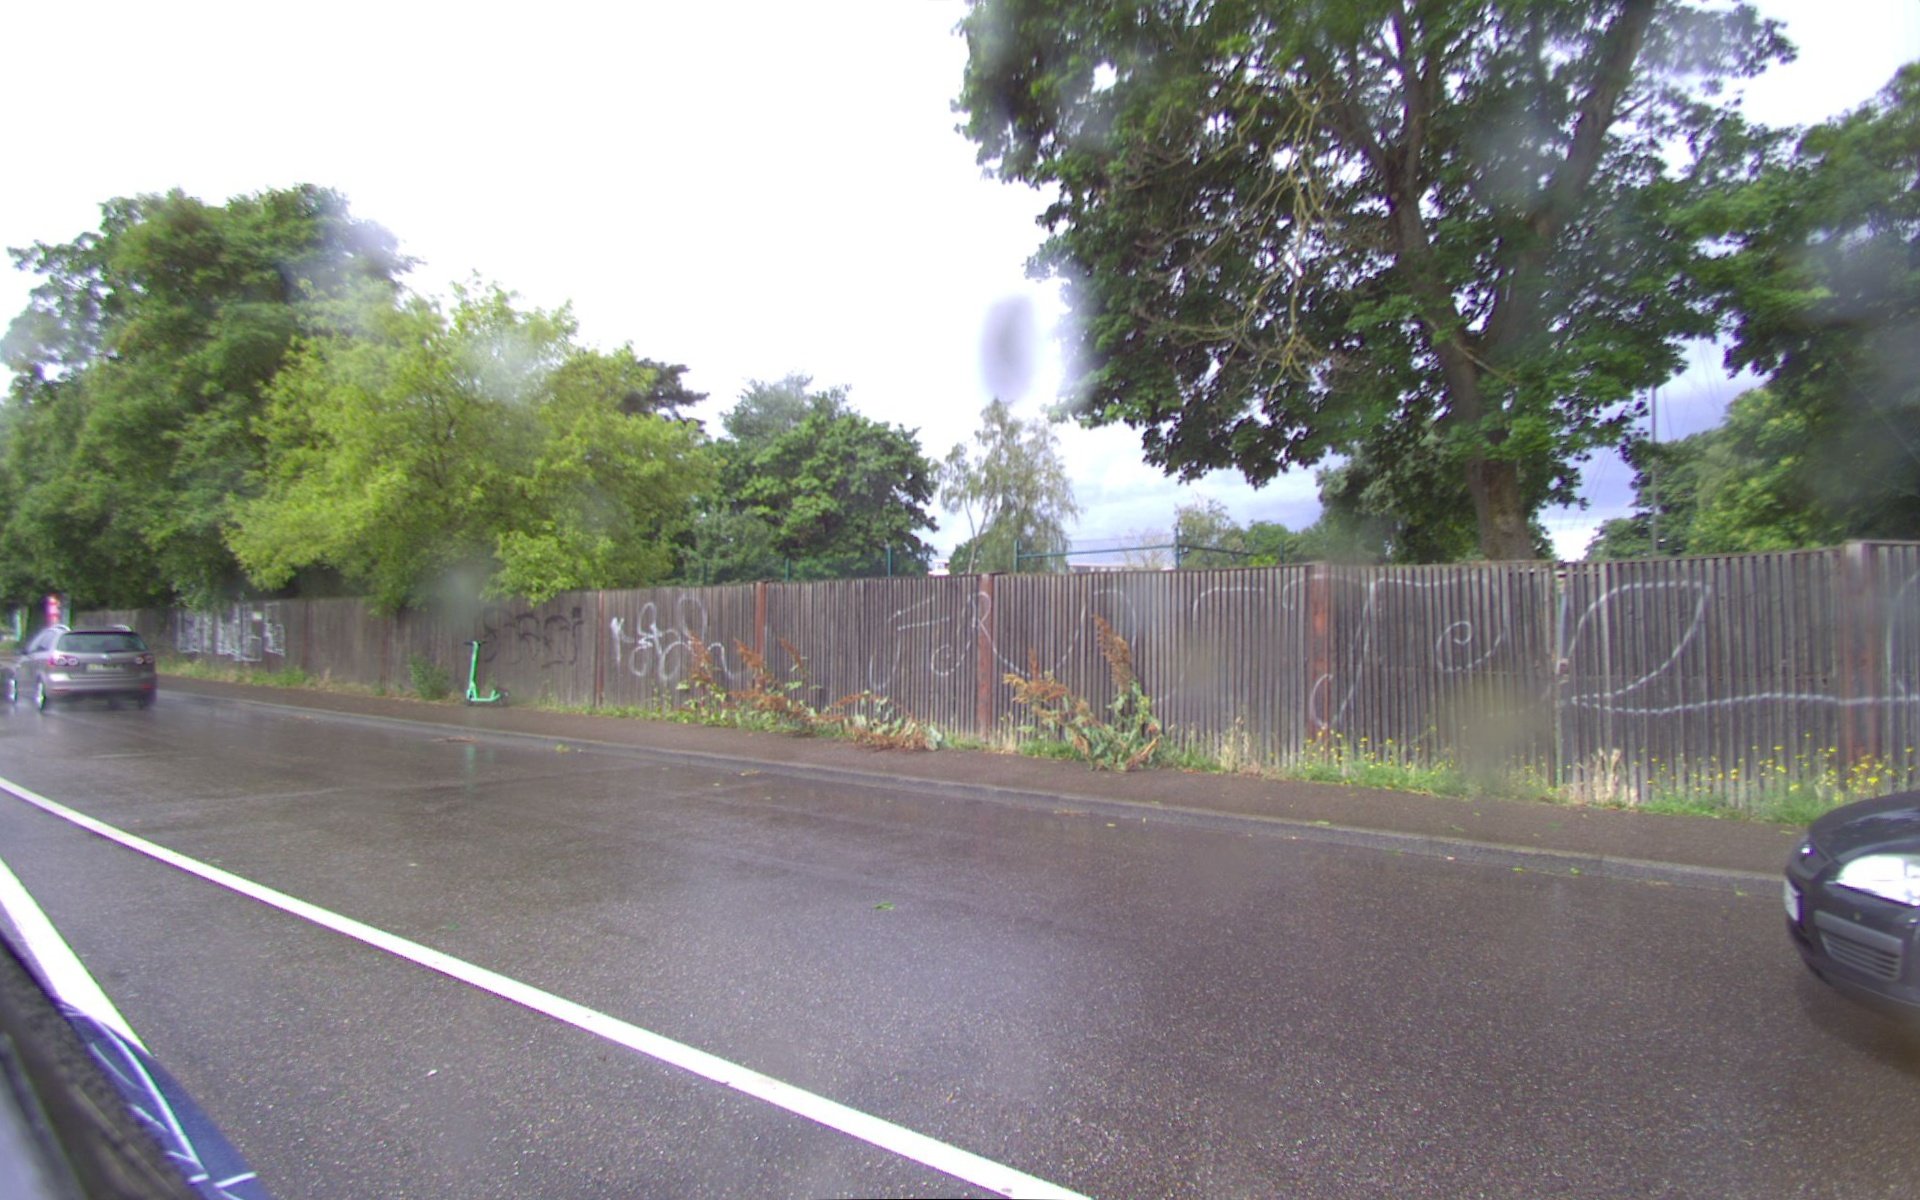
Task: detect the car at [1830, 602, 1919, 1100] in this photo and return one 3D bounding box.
[{"bbox_3d":[5.070,0.763,2.576,4.170,1.494,1.857,0,-2,37],"label":"car"}]

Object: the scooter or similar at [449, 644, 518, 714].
[{"bbox_3d":[-8.403,1.373,17.846,1.205,1.171,0.557,-1,-2,34],"label":"scooter or similar"}]

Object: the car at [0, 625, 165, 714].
[{"bbox_3d":[-17.431,1.334,19.955,4.421,1.564,1.763,-2,-5,39],"label":"car"}]
